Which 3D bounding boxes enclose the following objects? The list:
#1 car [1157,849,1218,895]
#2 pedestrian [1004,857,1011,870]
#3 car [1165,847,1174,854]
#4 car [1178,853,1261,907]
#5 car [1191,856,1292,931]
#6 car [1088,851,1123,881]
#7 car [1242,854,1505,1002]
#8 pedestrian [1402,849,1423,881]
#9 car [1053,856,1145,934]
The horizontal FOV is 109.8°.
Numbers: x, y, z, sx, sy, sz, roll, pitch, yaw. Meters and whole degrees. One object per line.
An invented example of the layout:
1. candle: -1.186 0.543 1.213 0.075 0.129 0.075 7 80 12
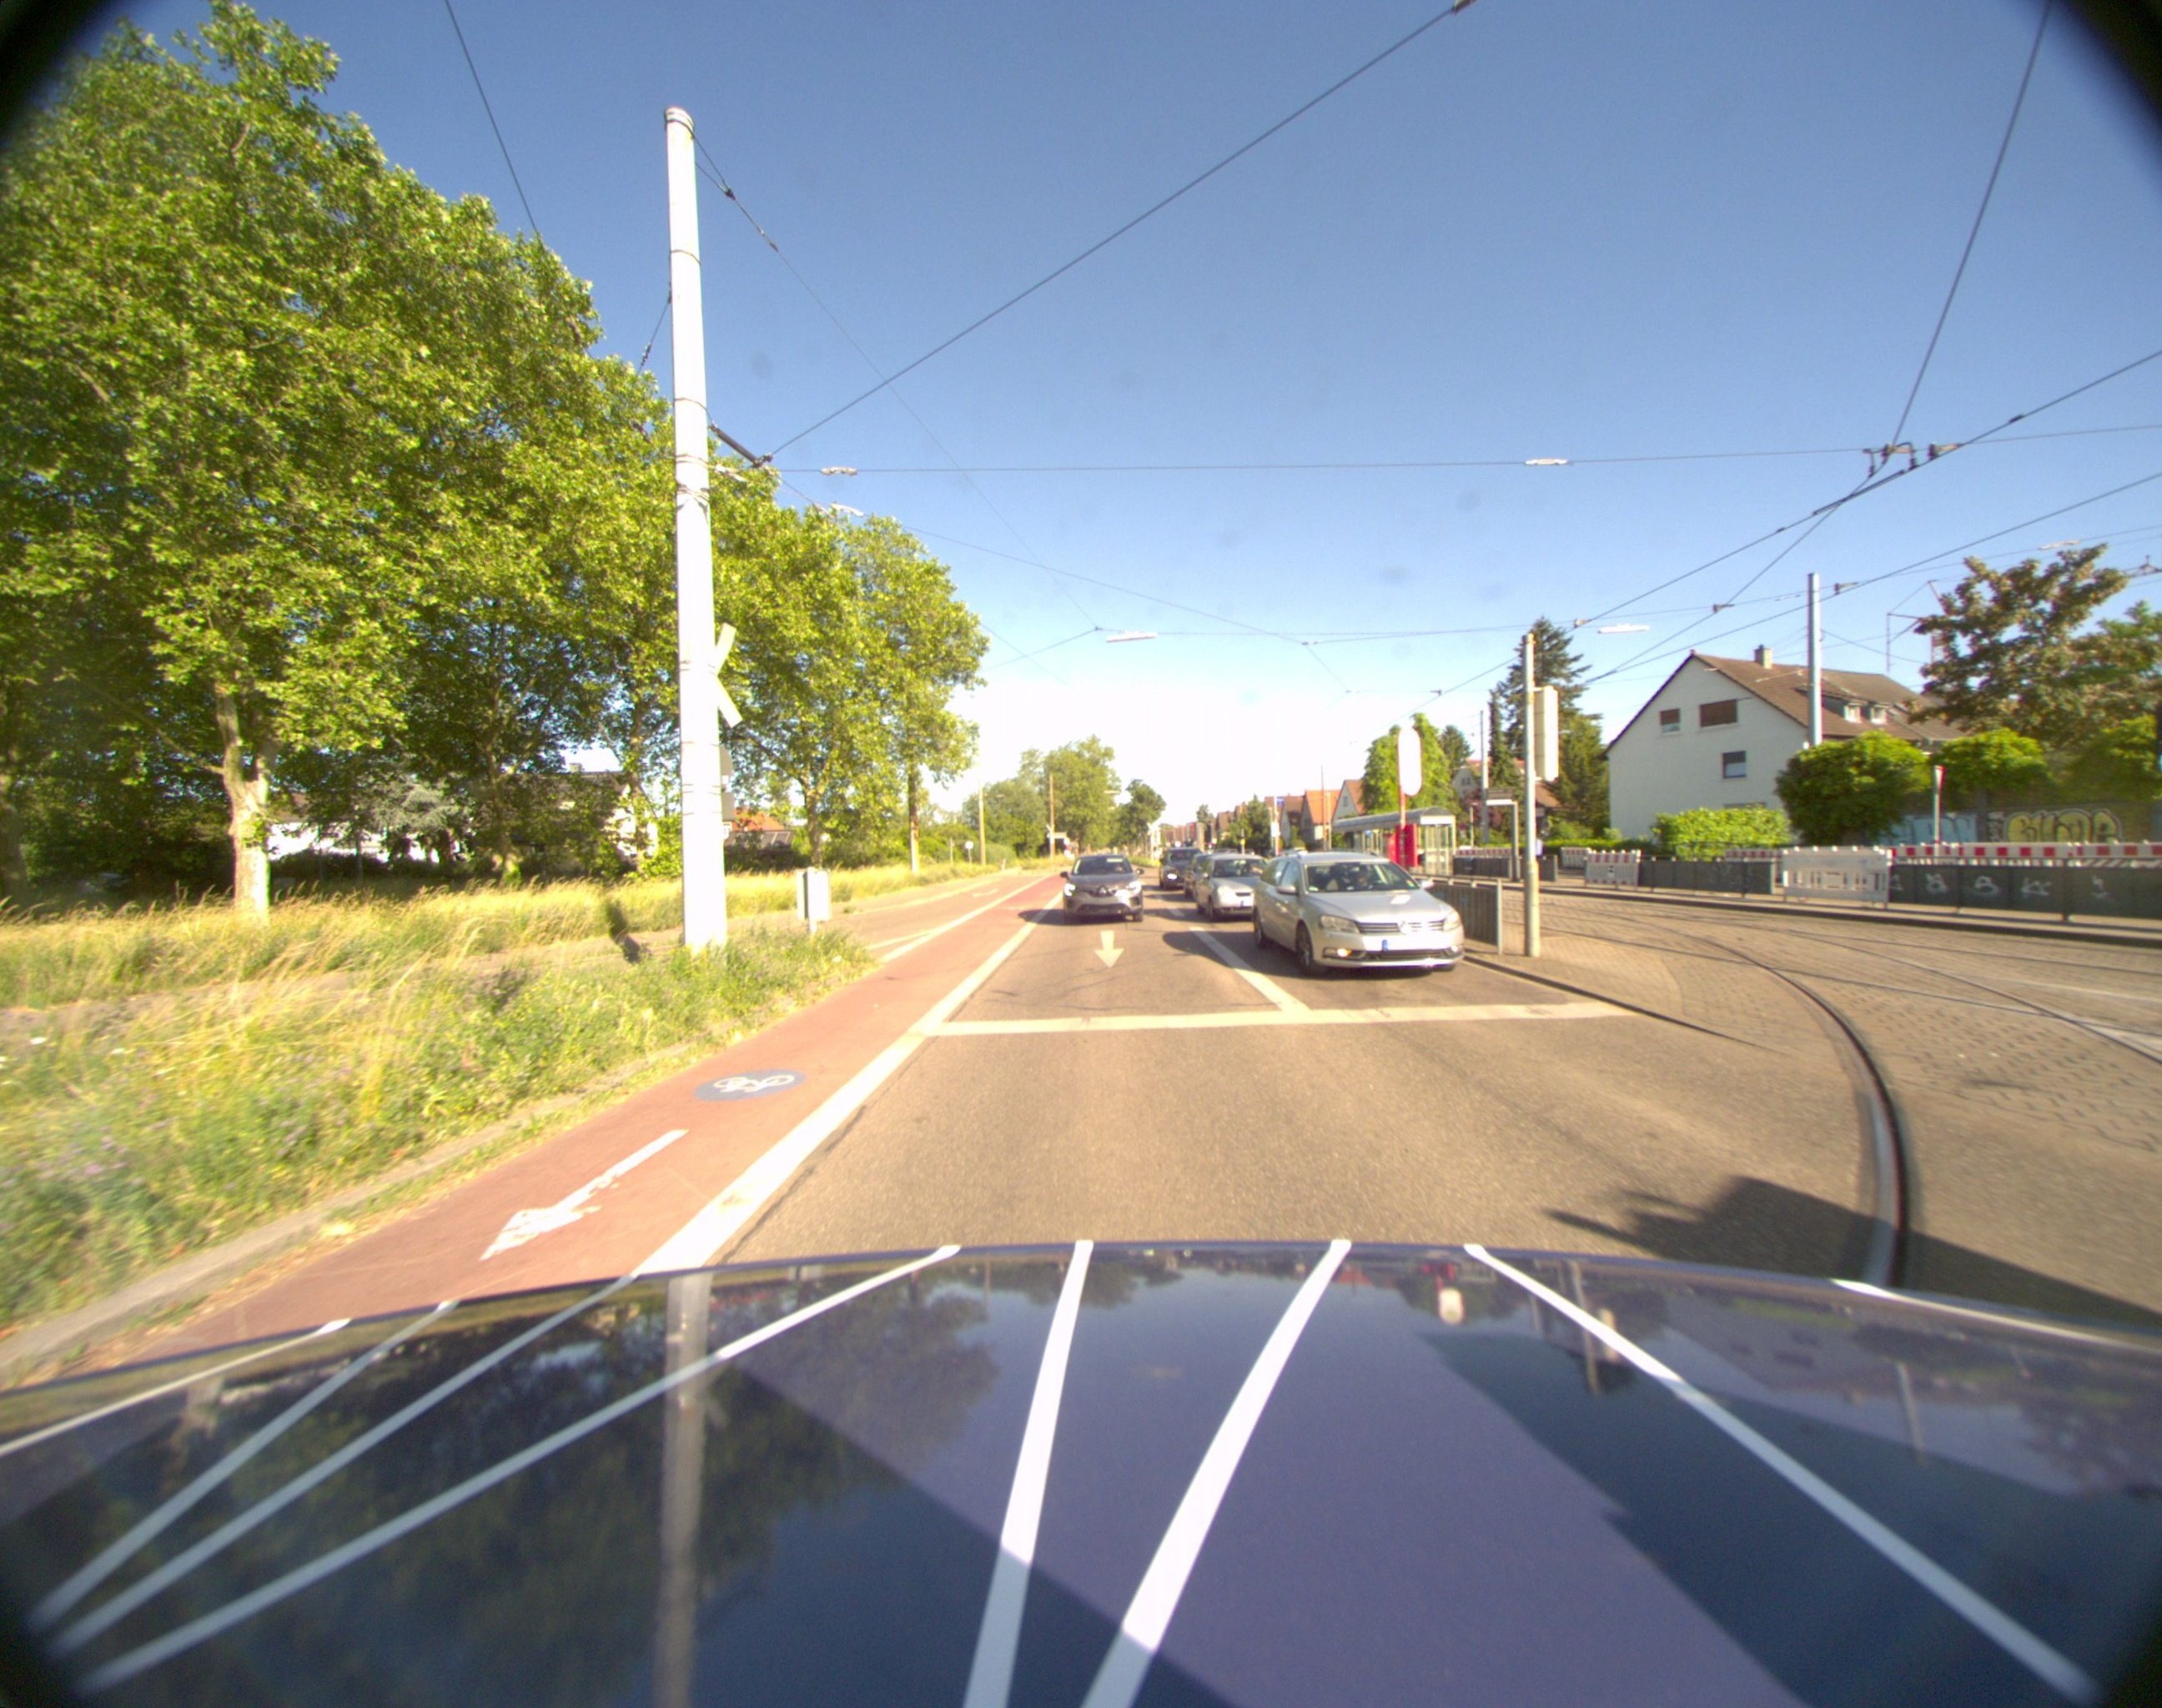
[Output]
1. car: 4.195 0.684 30.626 1.886 1.686 4.300 -1 0 1
2. pedestrian: -6.123 0.807 63.158 0.482 1.027 0.454 -1 1 2
3. car: 23.255 -1.023 199.136 1.998 1.761 4.001 -1 0 3
4. car: 4.250 0.738 23.915 1.755 1.525 4.194 -1 0 -1
5. car: 3.540 0.815 17.265 1.585 1.459 3.414 -2 0 1
6. car: 1.336 0.633 42.627 1.839 1.541 3.816 -1 0 1
7. car: 3.562 0.788 10.259 1.881 1.519 4.421 -1 0 1
8. pedestrian: 15.183 0.502 34.794 0.623 1.406 0.711 -2 0 0
9. car: 0.438 0.838 17.414 1.839 1.541 3.816 -1 0 2
